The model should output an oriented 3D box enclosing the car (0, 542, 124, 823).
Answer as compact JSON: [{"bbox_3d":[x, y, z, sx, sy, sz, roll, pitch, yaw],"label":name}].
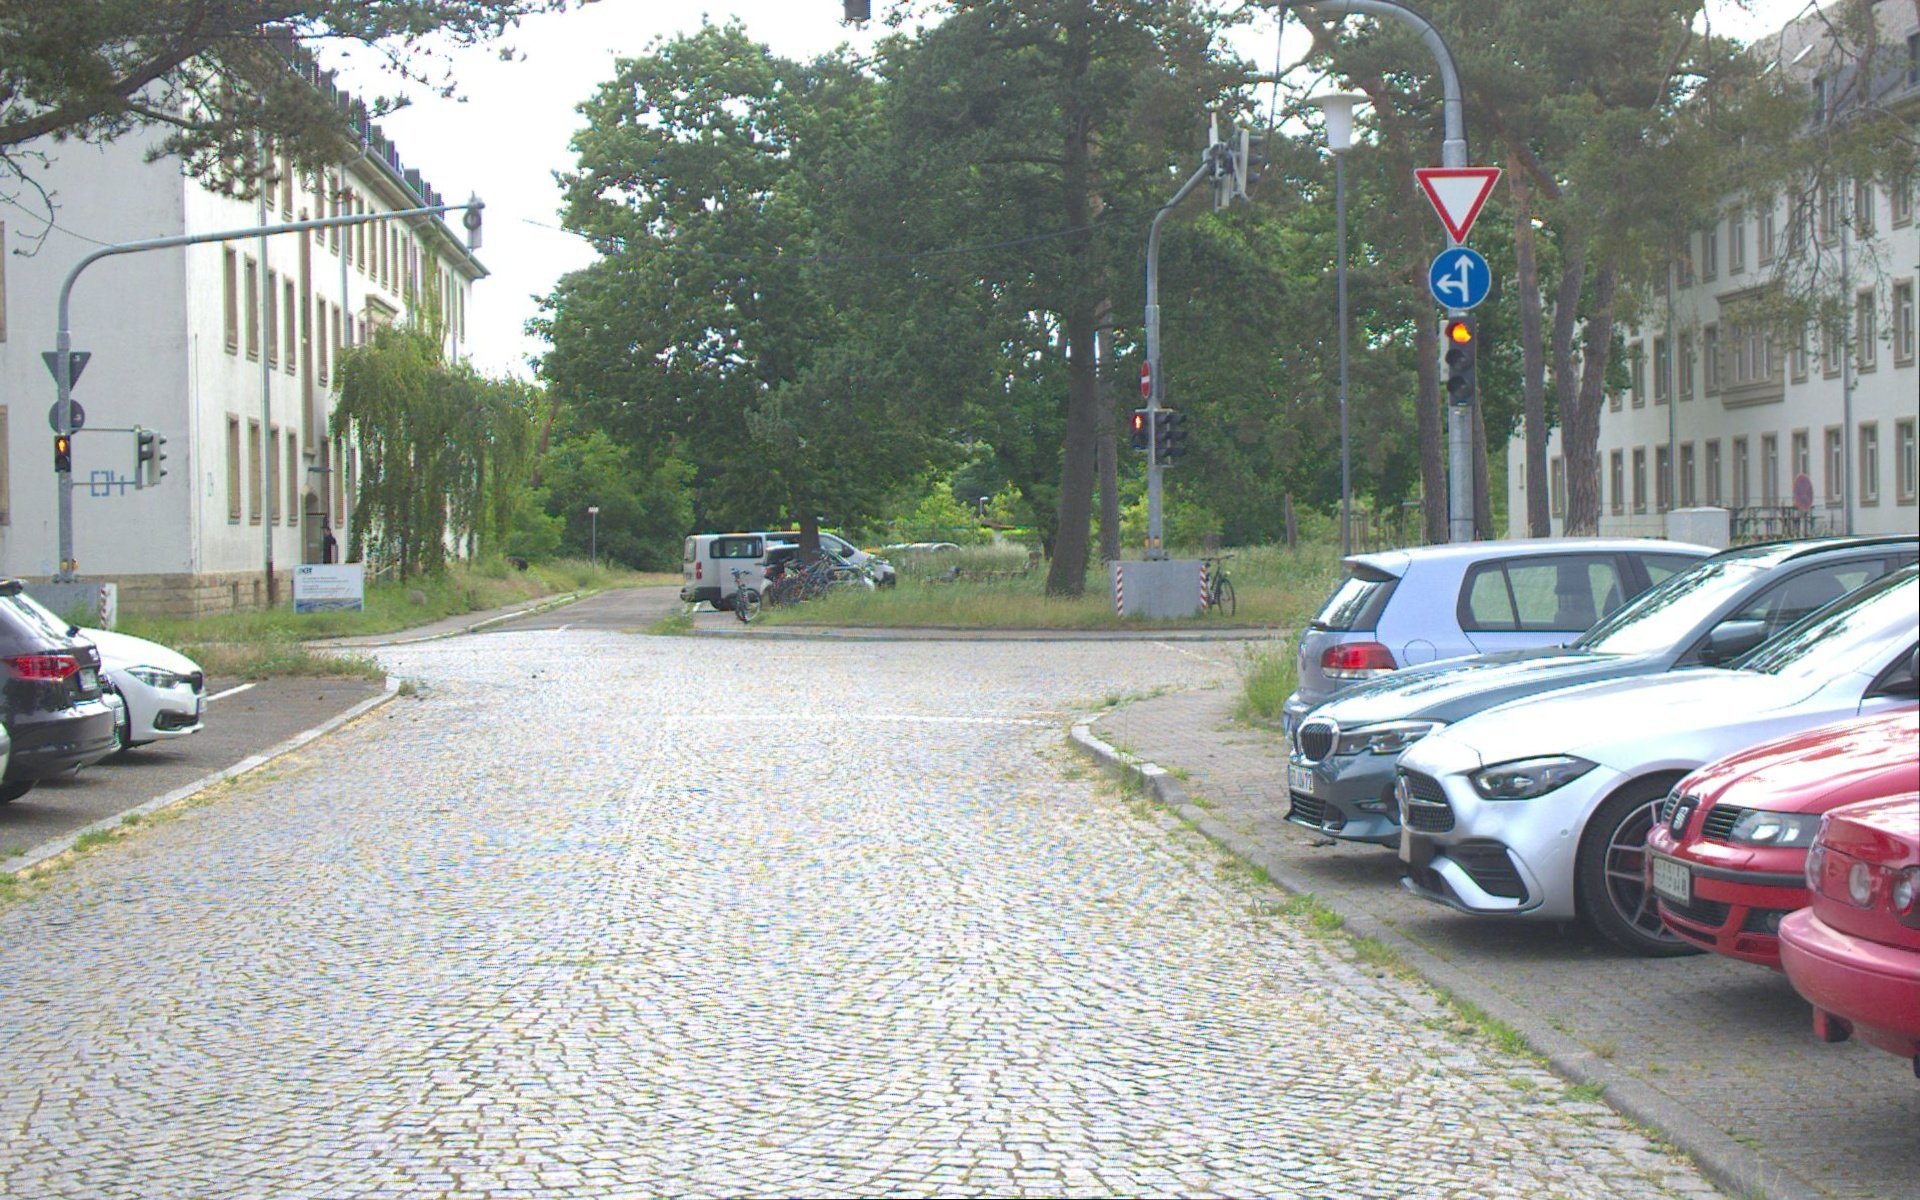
[{"bbox_3d":[-7.100,0.500,19.743,4.297,1.548,1.812,-2,1,-9],"label":"car"}]

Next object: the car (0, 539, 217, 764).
[{"bbox_3d":[-7.666,0.387,24.979,4.297,1.548,1.812,-2,1,-9],"label":"car"}]

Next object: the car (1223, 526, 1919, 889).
[{"bbox_3d":[3.529,0.425,16.088,4.227,1.474,1.710,-2,1,-14],"label":"car"}]

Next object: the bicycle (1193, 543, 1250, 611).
[{"bbox_3d":[4.225,-0.385,55.583,0.663,1.047,1.888,1,1,-3],"label":"bicycle"}]

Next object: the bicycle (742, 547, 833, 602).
[{"bbox_3d":[-3.709,-0.545,73.951,1.881,1.167,0.665,1,1,-9],"label":"bicycle"}]

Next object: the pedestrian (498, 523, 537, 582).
[{"bbox_3d":[-14.717,-1.574,114.333,1.239,1.952,1.121,1,1,-8],"label":"pedestrian"}]

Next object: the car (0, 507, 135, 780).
[{"bbox_3d":[-7.707,0.316,22.518,4.297,1.726,1.653,-2,1,-8],"label":"car"}]

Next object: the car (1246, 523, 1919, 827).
[{"bbox_3d":[3.778,0.357,18.658,4.134,1.458,1.634,-2,1,-8],"label":"car"}]

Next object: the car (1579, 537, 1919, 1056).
[{"bbox_3d":[4.233,0.514,10.989,4.104,1.471,1.685,-2,1,-5],"label":"car"}]

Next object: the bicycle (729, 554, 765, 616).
[{"bbox_3d":[-4.067,-0.293,65.791,0.663,1.167,1.888,1,1,-3],"label":"bicycle"}]

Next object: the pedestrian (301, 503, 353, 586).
[{"bbox_3d":[-15.161,-1.326,82.348,1.074,1.952,1.121,1,1,-3],"label":"pedestrian"}]

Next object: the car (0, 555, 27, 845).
[{"bbox_3d":[-6.713,0.476,17.163,3.720,1.476,1.673,1,1,-6],"label":"car"}]

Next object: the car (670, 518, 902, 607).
[{"bbox_3d":[-4.326,-0.939,85.239,5.374,2.094,2.179,-1,1,-15],"label":"car"}]

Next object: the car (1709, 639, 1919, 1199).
[{"bbox_3d":[3.877,0.701,8.627,3.586,1.218,1.629,-2,1,-2],"label":"car"}]

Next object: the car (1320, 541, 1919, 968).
[{"bbox_3d":[3.679,0.502,13.326,4.184,1.432,1.756,-2,1,-10],"label":"car"}]
